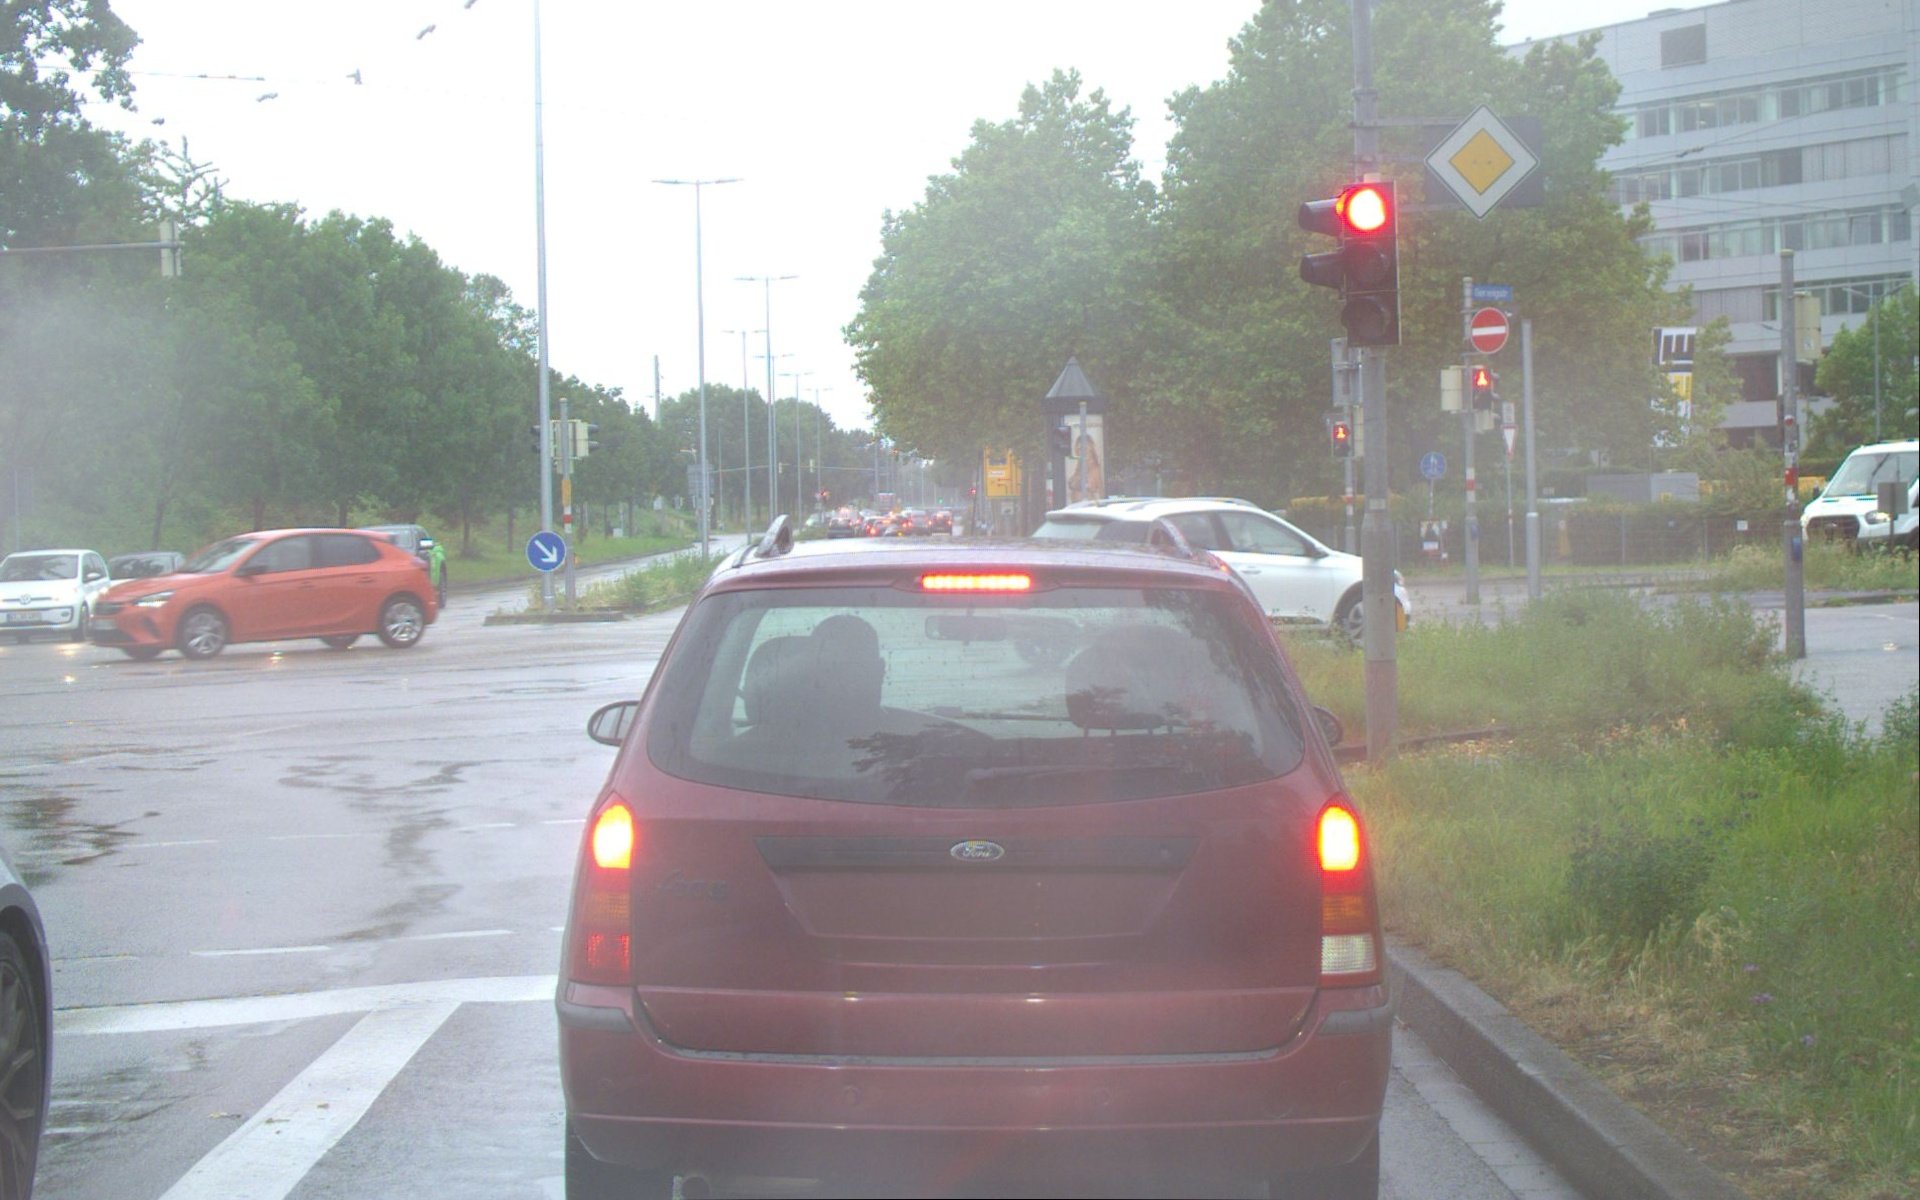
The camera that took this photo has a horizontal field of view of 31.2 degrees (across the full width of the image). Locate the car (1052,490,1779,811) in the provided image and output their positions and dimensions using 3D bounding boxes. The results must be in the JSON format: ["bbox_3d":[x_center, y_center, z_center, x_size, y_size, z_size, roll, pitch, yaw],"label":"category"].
[{"bbox_3d":[2.809,0.209,20.594,4.375,1.531,1.801,-5,4,-40],"label":"car"}]

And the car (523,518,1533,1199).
[{"bbox_3d":[0.095,0.587,8.342,1.796,1.532,4.387,1,1,-1],"label":"car"}]

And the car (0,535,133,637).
[{"bbox_3d":[-14.600,-0.248,55.163,1.712,1.525,4.000,-1,1,-1],"label":"car"}]

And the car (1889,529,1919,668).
[{"bbox_3d":[12.700,-0.076,38.542,4.372,1.532,1.802,-2,1,-29],"label":"car"}]

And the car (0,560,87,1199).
[{"bbox_3d":[-2.685,0.676,5.029,1.690,1.428,4.574,0,1,-1],"label":"car"}]

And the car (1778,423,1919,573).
[{"bbox_3d":[15.008,-1.659,53.690,4.374,2.183,1.802,-5,3,-35],"label":"car"}]

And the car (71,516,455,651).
[{"bbox_3d":[-8.058,-0.216,39.911,3.988,1.424,1.717,-2,2,-38],"label":"car"}]

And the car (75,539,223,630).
[{"bbox_3d":[-14.506,-0.309,61.702,1.712,1.525,4.000,-1,1,-1],"label":"car"}]

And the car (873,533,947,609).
[{"bbox_3d":[-1.393,-0.830,96.257,1.993,2.007,4.000,-1,1,-1],"label":"car"}]

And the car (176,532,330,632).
[{"bbox_3d":[-11.546,-0.325,56.383,1.712,1.525,4.000,-1,1,-1],"label":"car"}]

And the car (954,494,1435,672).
[{"bbox_3d":[2.210,-0.184,32.203,4.050,1.515,2.000,-2,1,-31],"label":"car"}]
